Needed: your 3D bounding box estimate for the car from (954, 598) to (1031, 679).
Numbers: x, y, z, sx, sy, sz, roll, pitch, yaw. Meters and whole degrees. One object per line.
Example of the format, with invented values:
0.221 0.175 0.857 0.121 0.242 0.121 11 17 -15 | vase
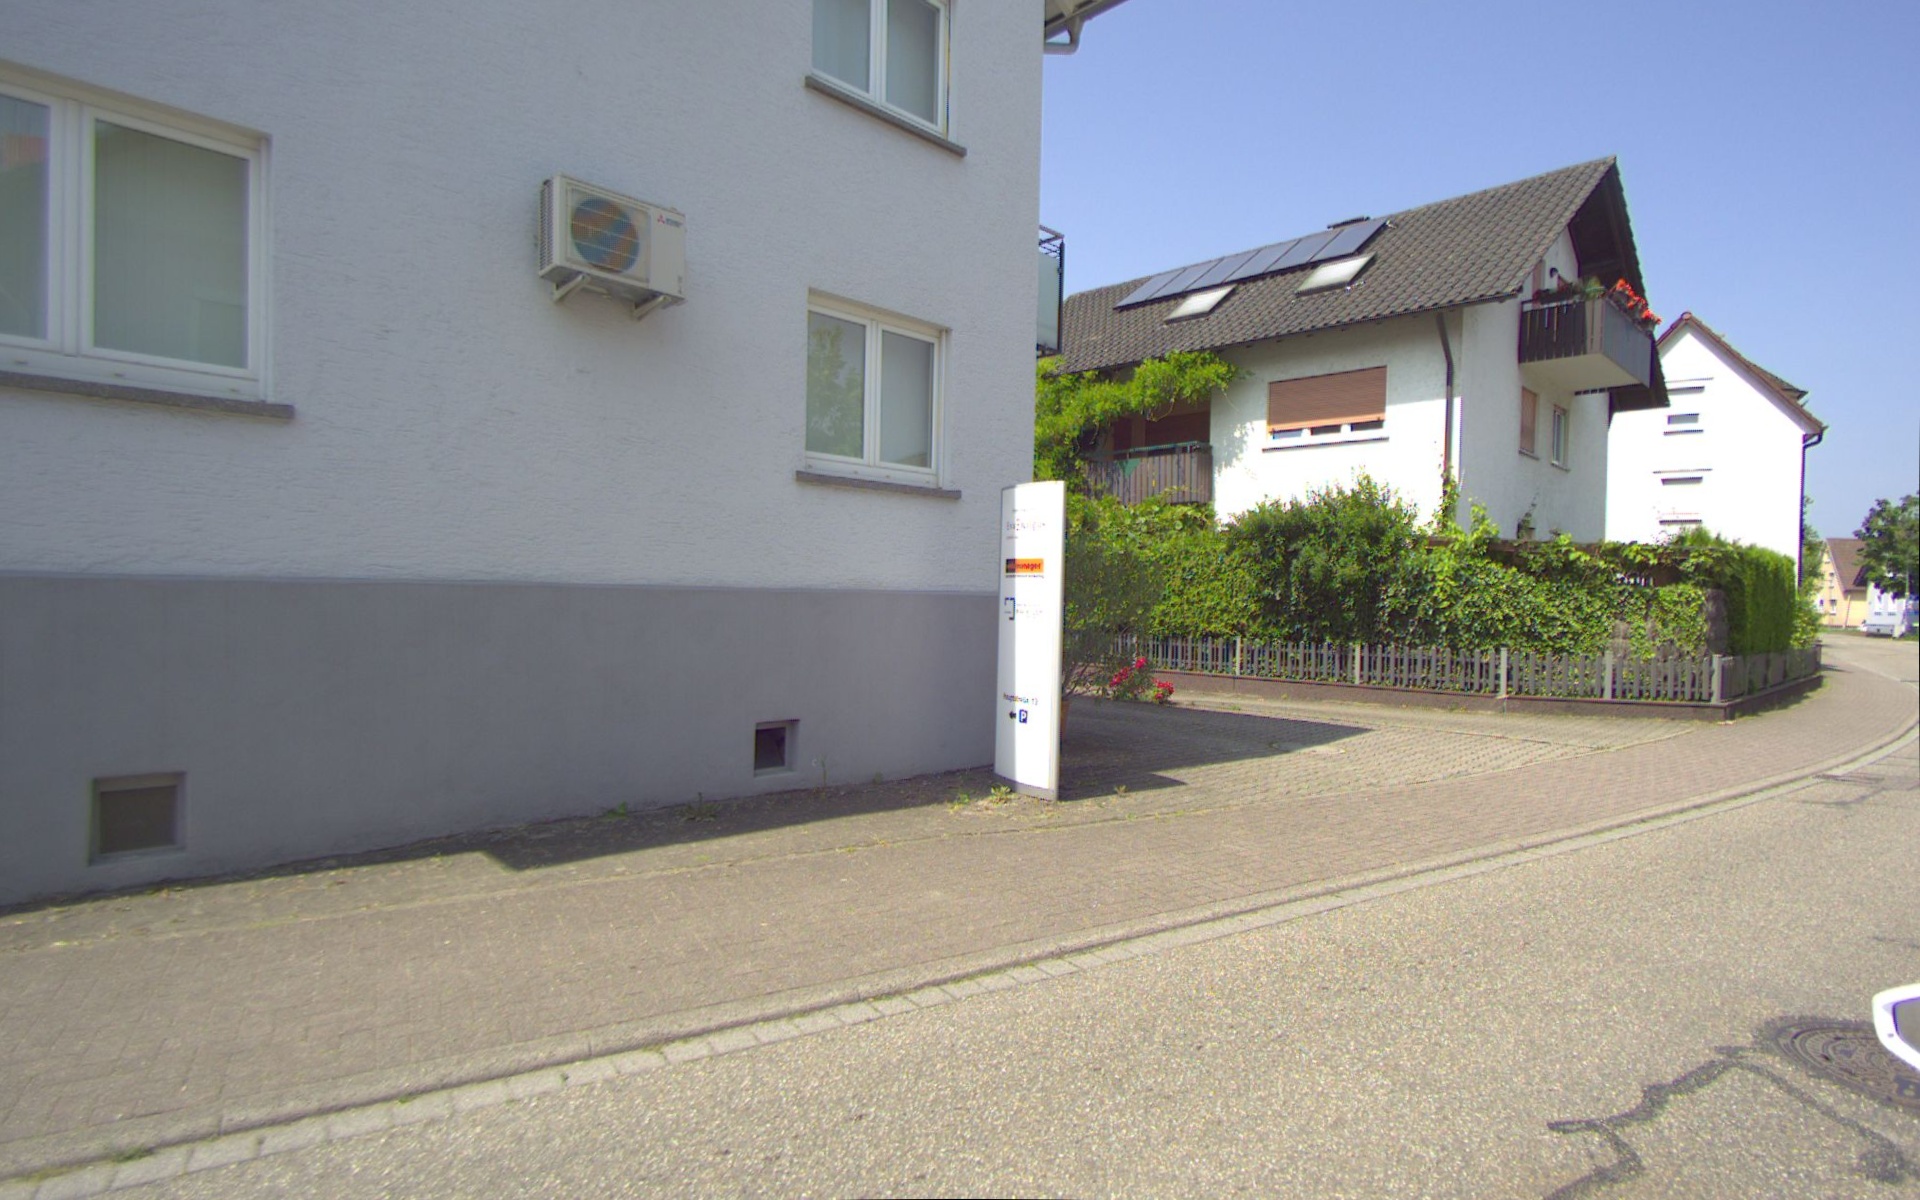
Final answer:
0.708 0.953 24.452 1.695 1.779 4.674 0 -2 0 | car
